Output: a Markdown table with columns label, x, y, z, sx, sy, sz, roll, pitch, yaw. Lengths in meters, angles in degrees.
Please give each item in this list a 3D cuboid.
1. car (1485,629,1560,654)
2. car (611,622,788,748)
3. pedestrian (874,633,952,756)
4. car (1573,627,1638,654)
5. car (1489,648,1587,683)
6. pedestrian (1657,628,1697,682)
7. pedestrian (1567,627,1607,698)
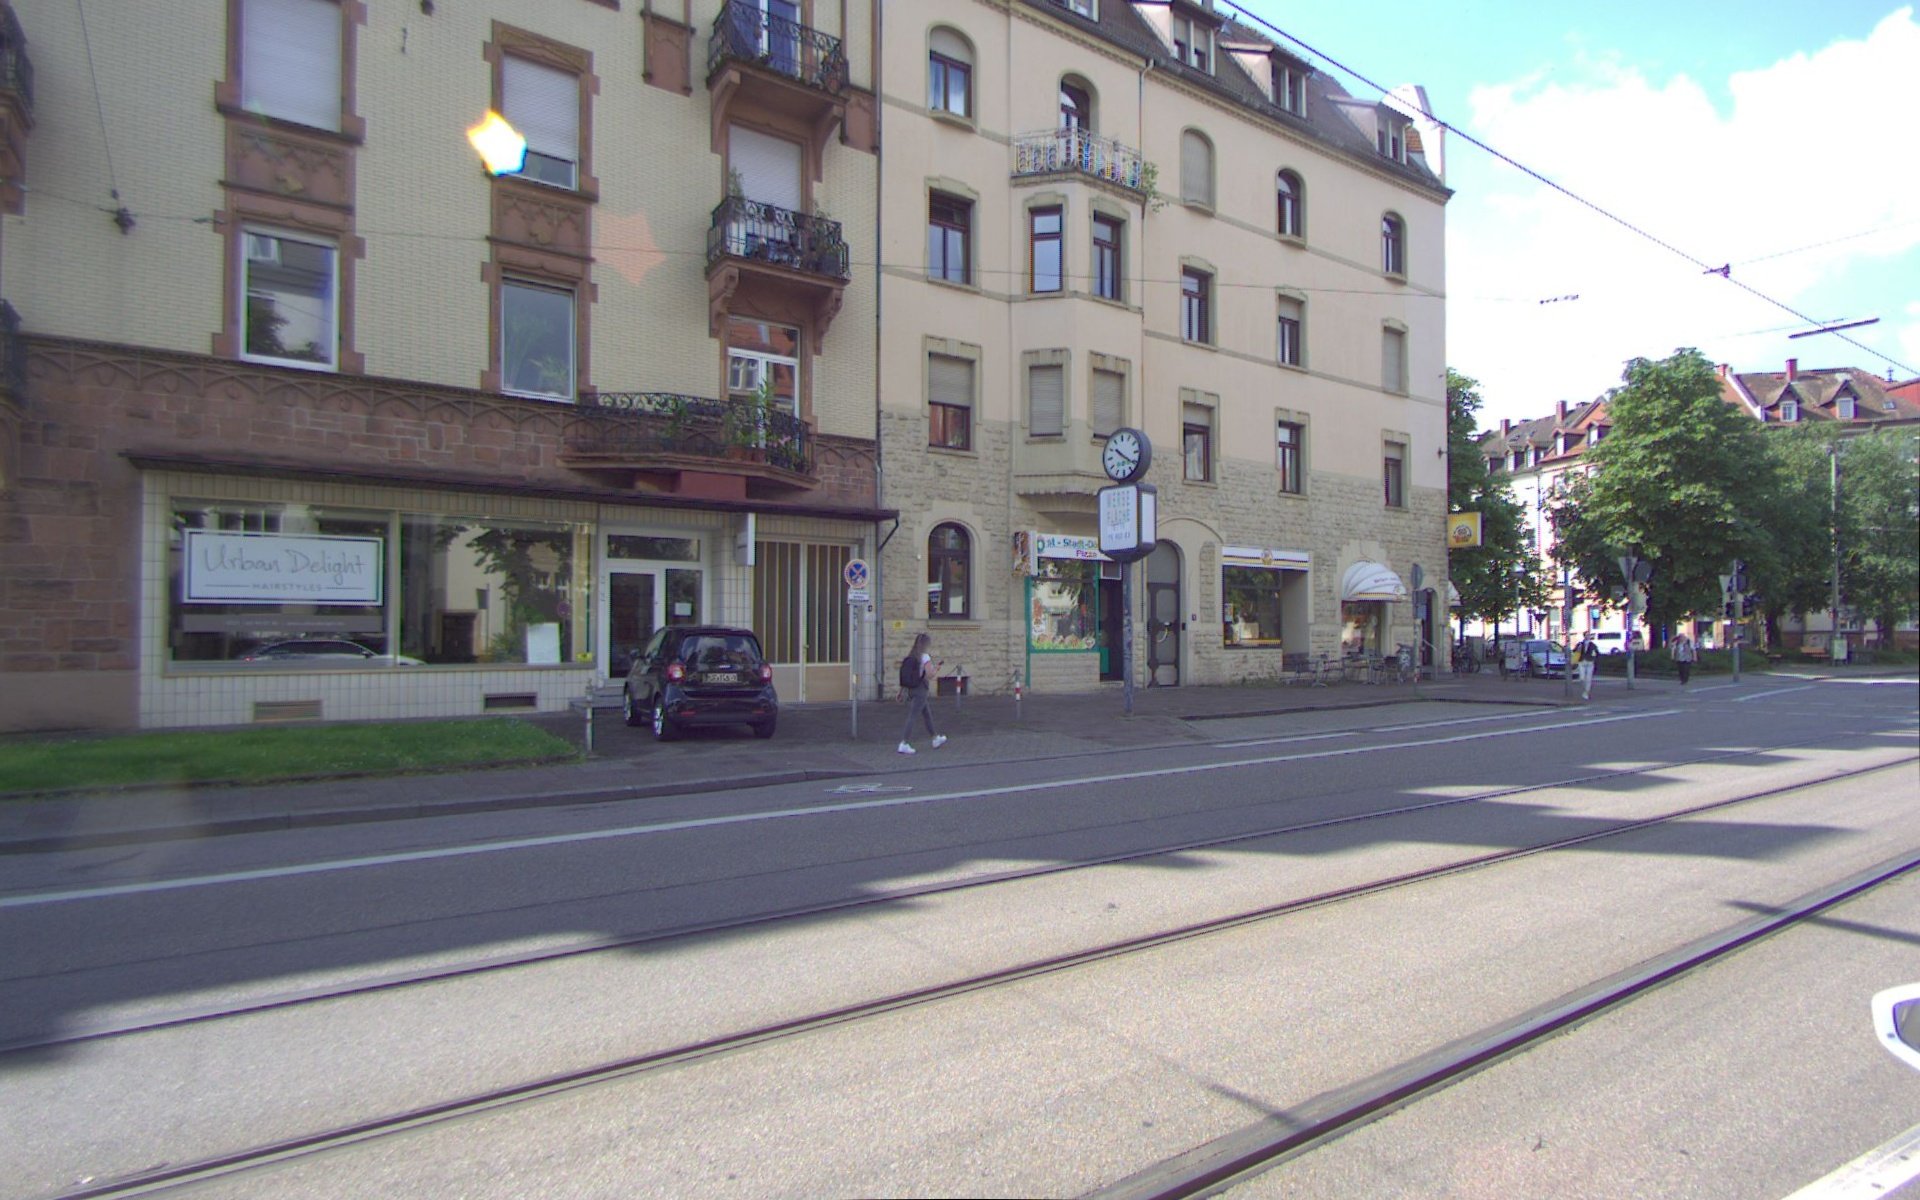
| label | x | y | z | sx | sy | sz | roll | pitch | yaw |
| --- | --- | --- | --- | --- | --- | --- | --- | --- | --- |
| car | 37.811 | 2.762 | 67.567 | 1.976 | 1.617 | 3.969 | 1 | -2 | -29 |
| car | -3.913 | 1.146 | 14.773 | 1.716 | 1.505 | 3.162 | 1 | 1 | -30 |
| pedestrian | -0.646 | 1.261 | 13.708 | 0.757 | 1.562 | 0.752 | 1 | 2 | -33 |
| car | 47.573 | 2.997 | 74.071 | 1.962 | 1.929 | 3.997 | 0 | -2 | -6 |
| car | 22.099 | 2.476 | 38.560 | 1.645 | 1.198 | 4.002 | 0 | -2 | 4 |
| pedestrian | 23.524 | 1.802 | 32.955 | 0.709 | 1.728 | 0.819 | 1 | -2 | -25 |
| pedestrian | 16.197 | 1.600 | 25.966 | 0.786 | 1.777 | 0.684 | -1 | -2 | 26 |
